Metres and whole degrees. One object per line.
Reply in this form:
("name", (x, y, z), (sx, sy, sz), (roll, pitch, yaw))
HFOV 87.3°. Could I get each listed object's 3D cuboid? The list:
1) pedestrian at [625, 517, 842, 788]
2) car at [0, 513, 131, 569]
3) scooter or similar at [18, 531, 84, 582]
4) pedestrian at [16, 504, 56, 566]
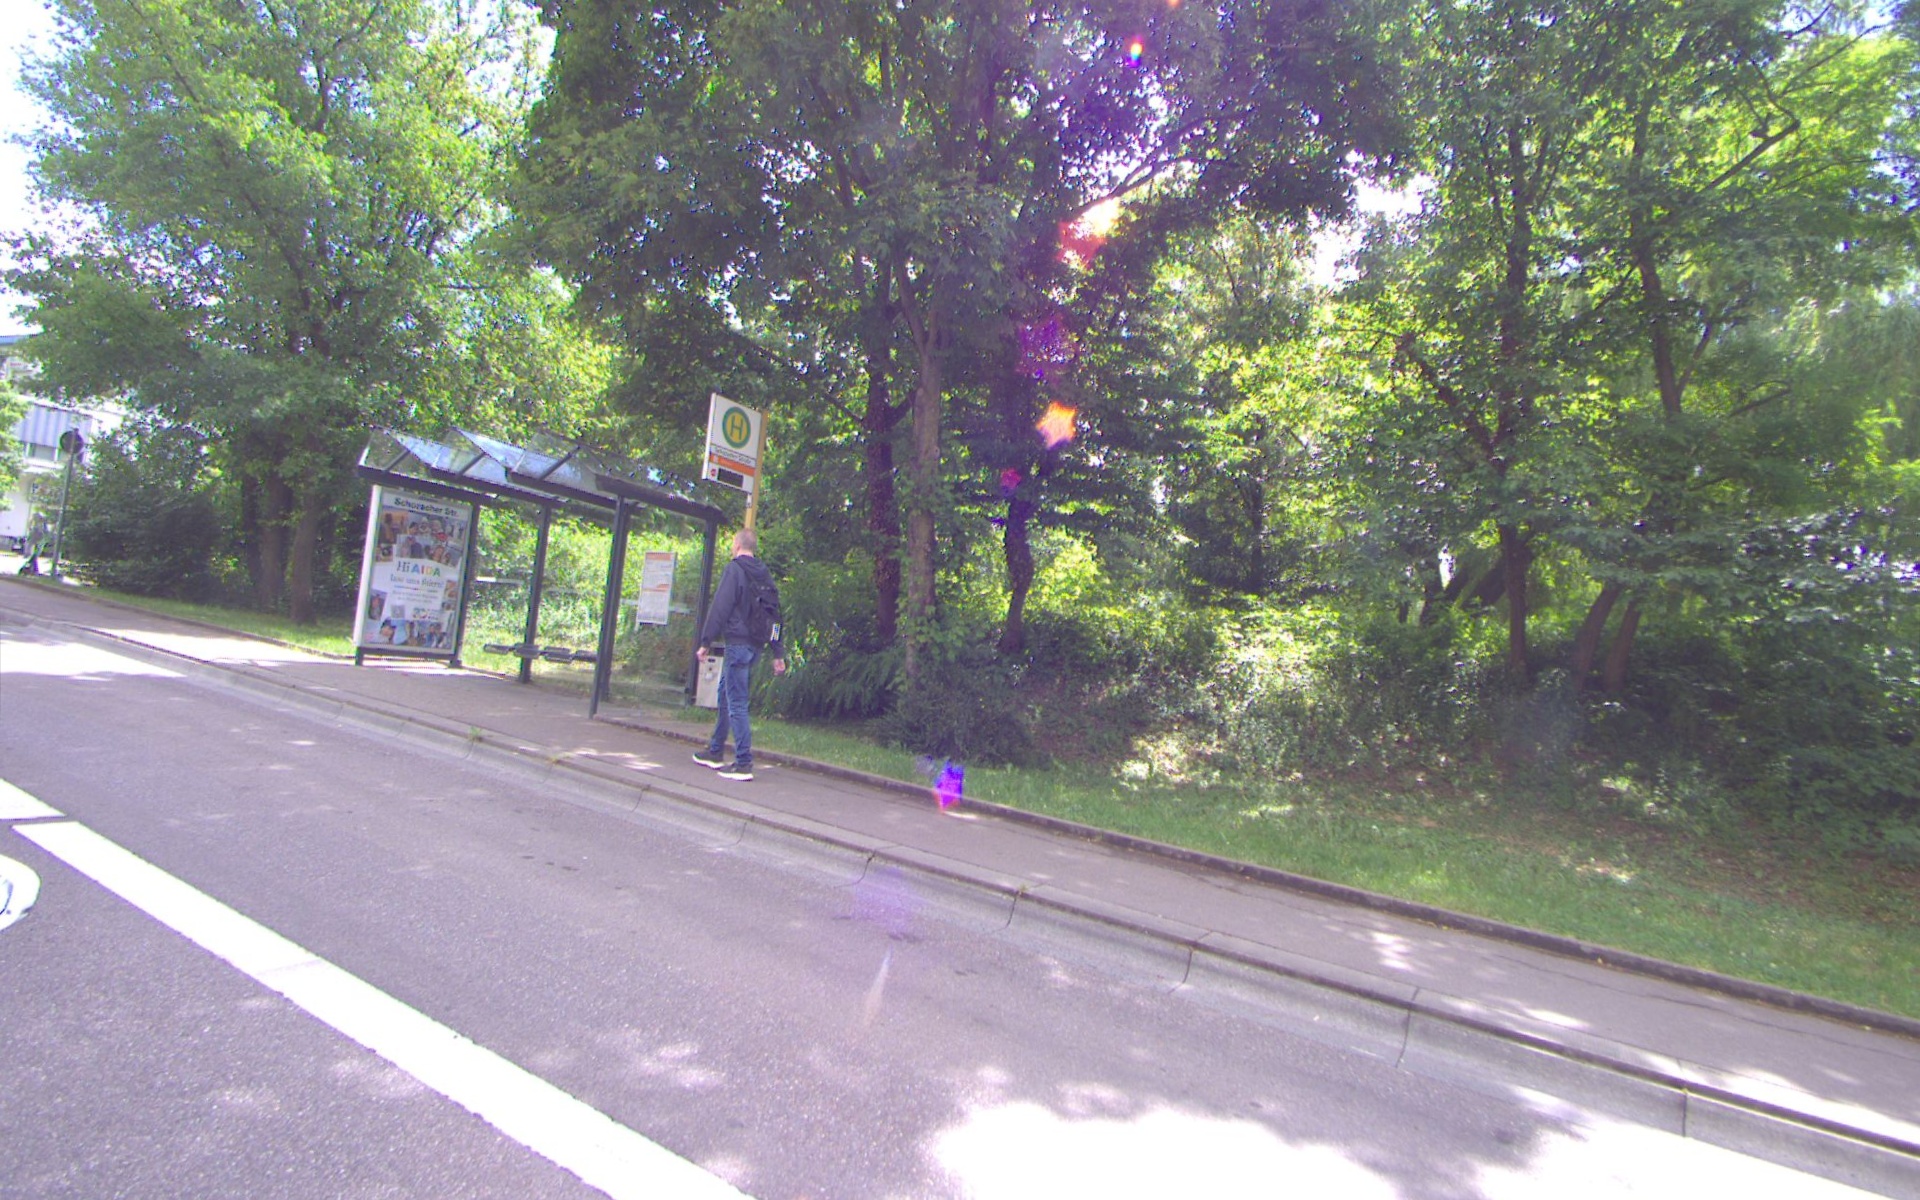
("pedestrian", (-1.789, 0.394, 7.956), (1.250, 1.917, 0.802), (7, -2, 33))
("car", (-35.670, -2.316, 40.091), (1.679, 1.619, 3.592), (6, -2, 20))
("scooter or similar", (-22.431, -1.062, 24.851), (0.325, 1.112, 1.153), (7, -2, 9))
("pedestrian", (-28.876, -2.031, 31.460), (0.611, 1.808, 0.562), (12, -5, -40))
